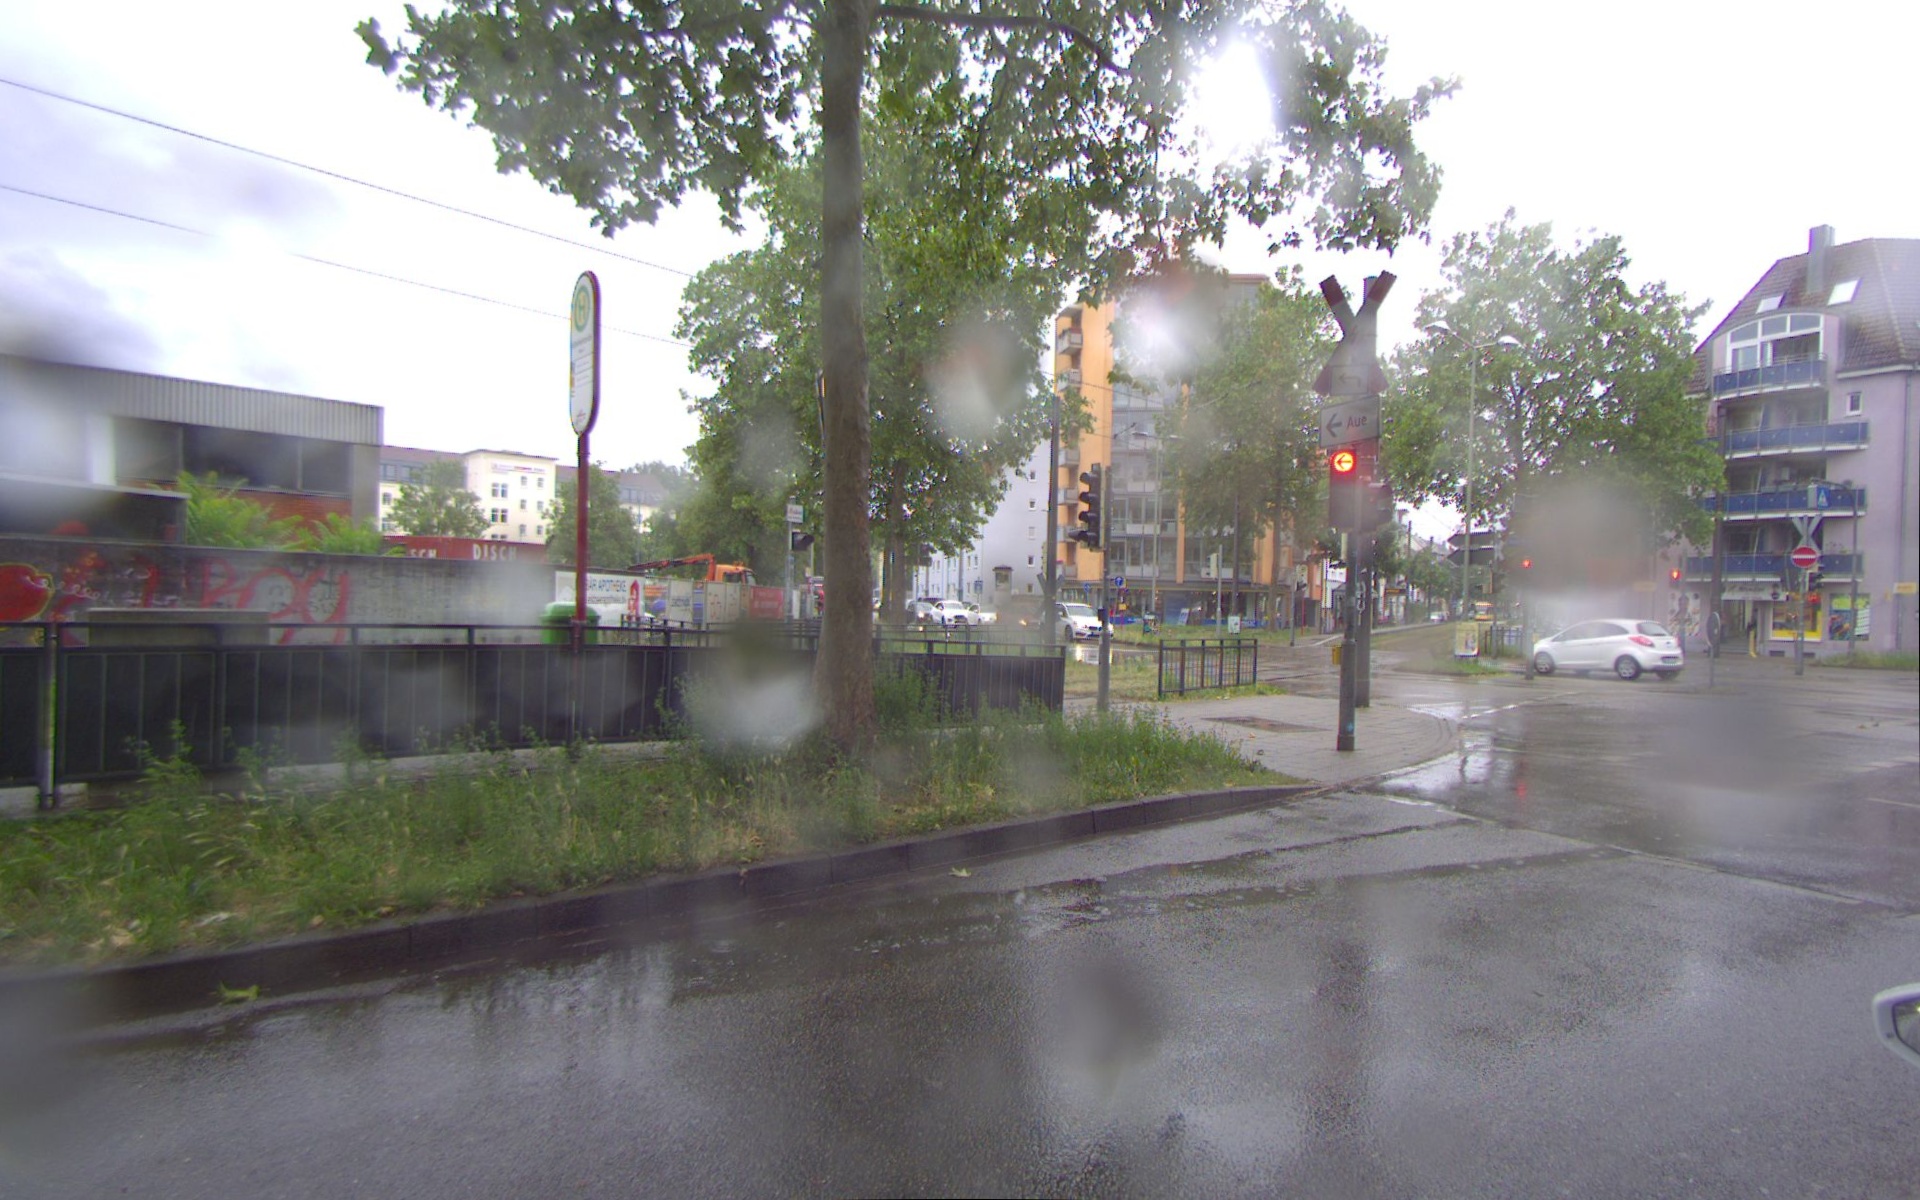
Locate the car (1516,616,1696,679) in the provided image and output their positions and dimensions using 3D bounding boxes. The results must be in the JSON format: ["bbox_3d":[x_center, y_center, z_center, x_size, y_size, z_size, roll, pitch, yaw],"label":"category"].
[{"bbox_3d":[16.624,1.186,26.031,1.700,1.505,3.634,1,-1,-22],"label":"car"}]

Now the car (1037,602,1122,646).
[{"bbox_3d":[4.722,0.973,40.344,1.941,1.673,4.004,1,-1,-17],"label":"car"}]

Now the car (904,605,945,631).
[{"bbox_3d":[-2.327,1.158,64.443,1.697,1.661,3.780,1,-1,-17],"label":"car"}]

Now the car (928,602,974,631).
[{"bbox_3d":[-0.564,0.970,58.426,1.697,1.661,3.780,1,-1,-17],"label":"car"}]

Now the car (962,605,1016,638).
[{"bbox_3d":[1.454,1.137,52.463,1.697,1.661,3.780,1,-1,-17],"label":"car"}]

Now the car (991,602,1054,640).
[{"bbox_3d":[2.834,0.983,46.222,1.697,1.661,3.780,1,-1,-17],"label":"car"}]

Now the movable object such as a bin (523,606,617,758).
[{"bbox_3d":[-2.945,0.600,7.595,0.412,1.104,0.528,0,-1,44],"label":"movable object such as a bin"}]
